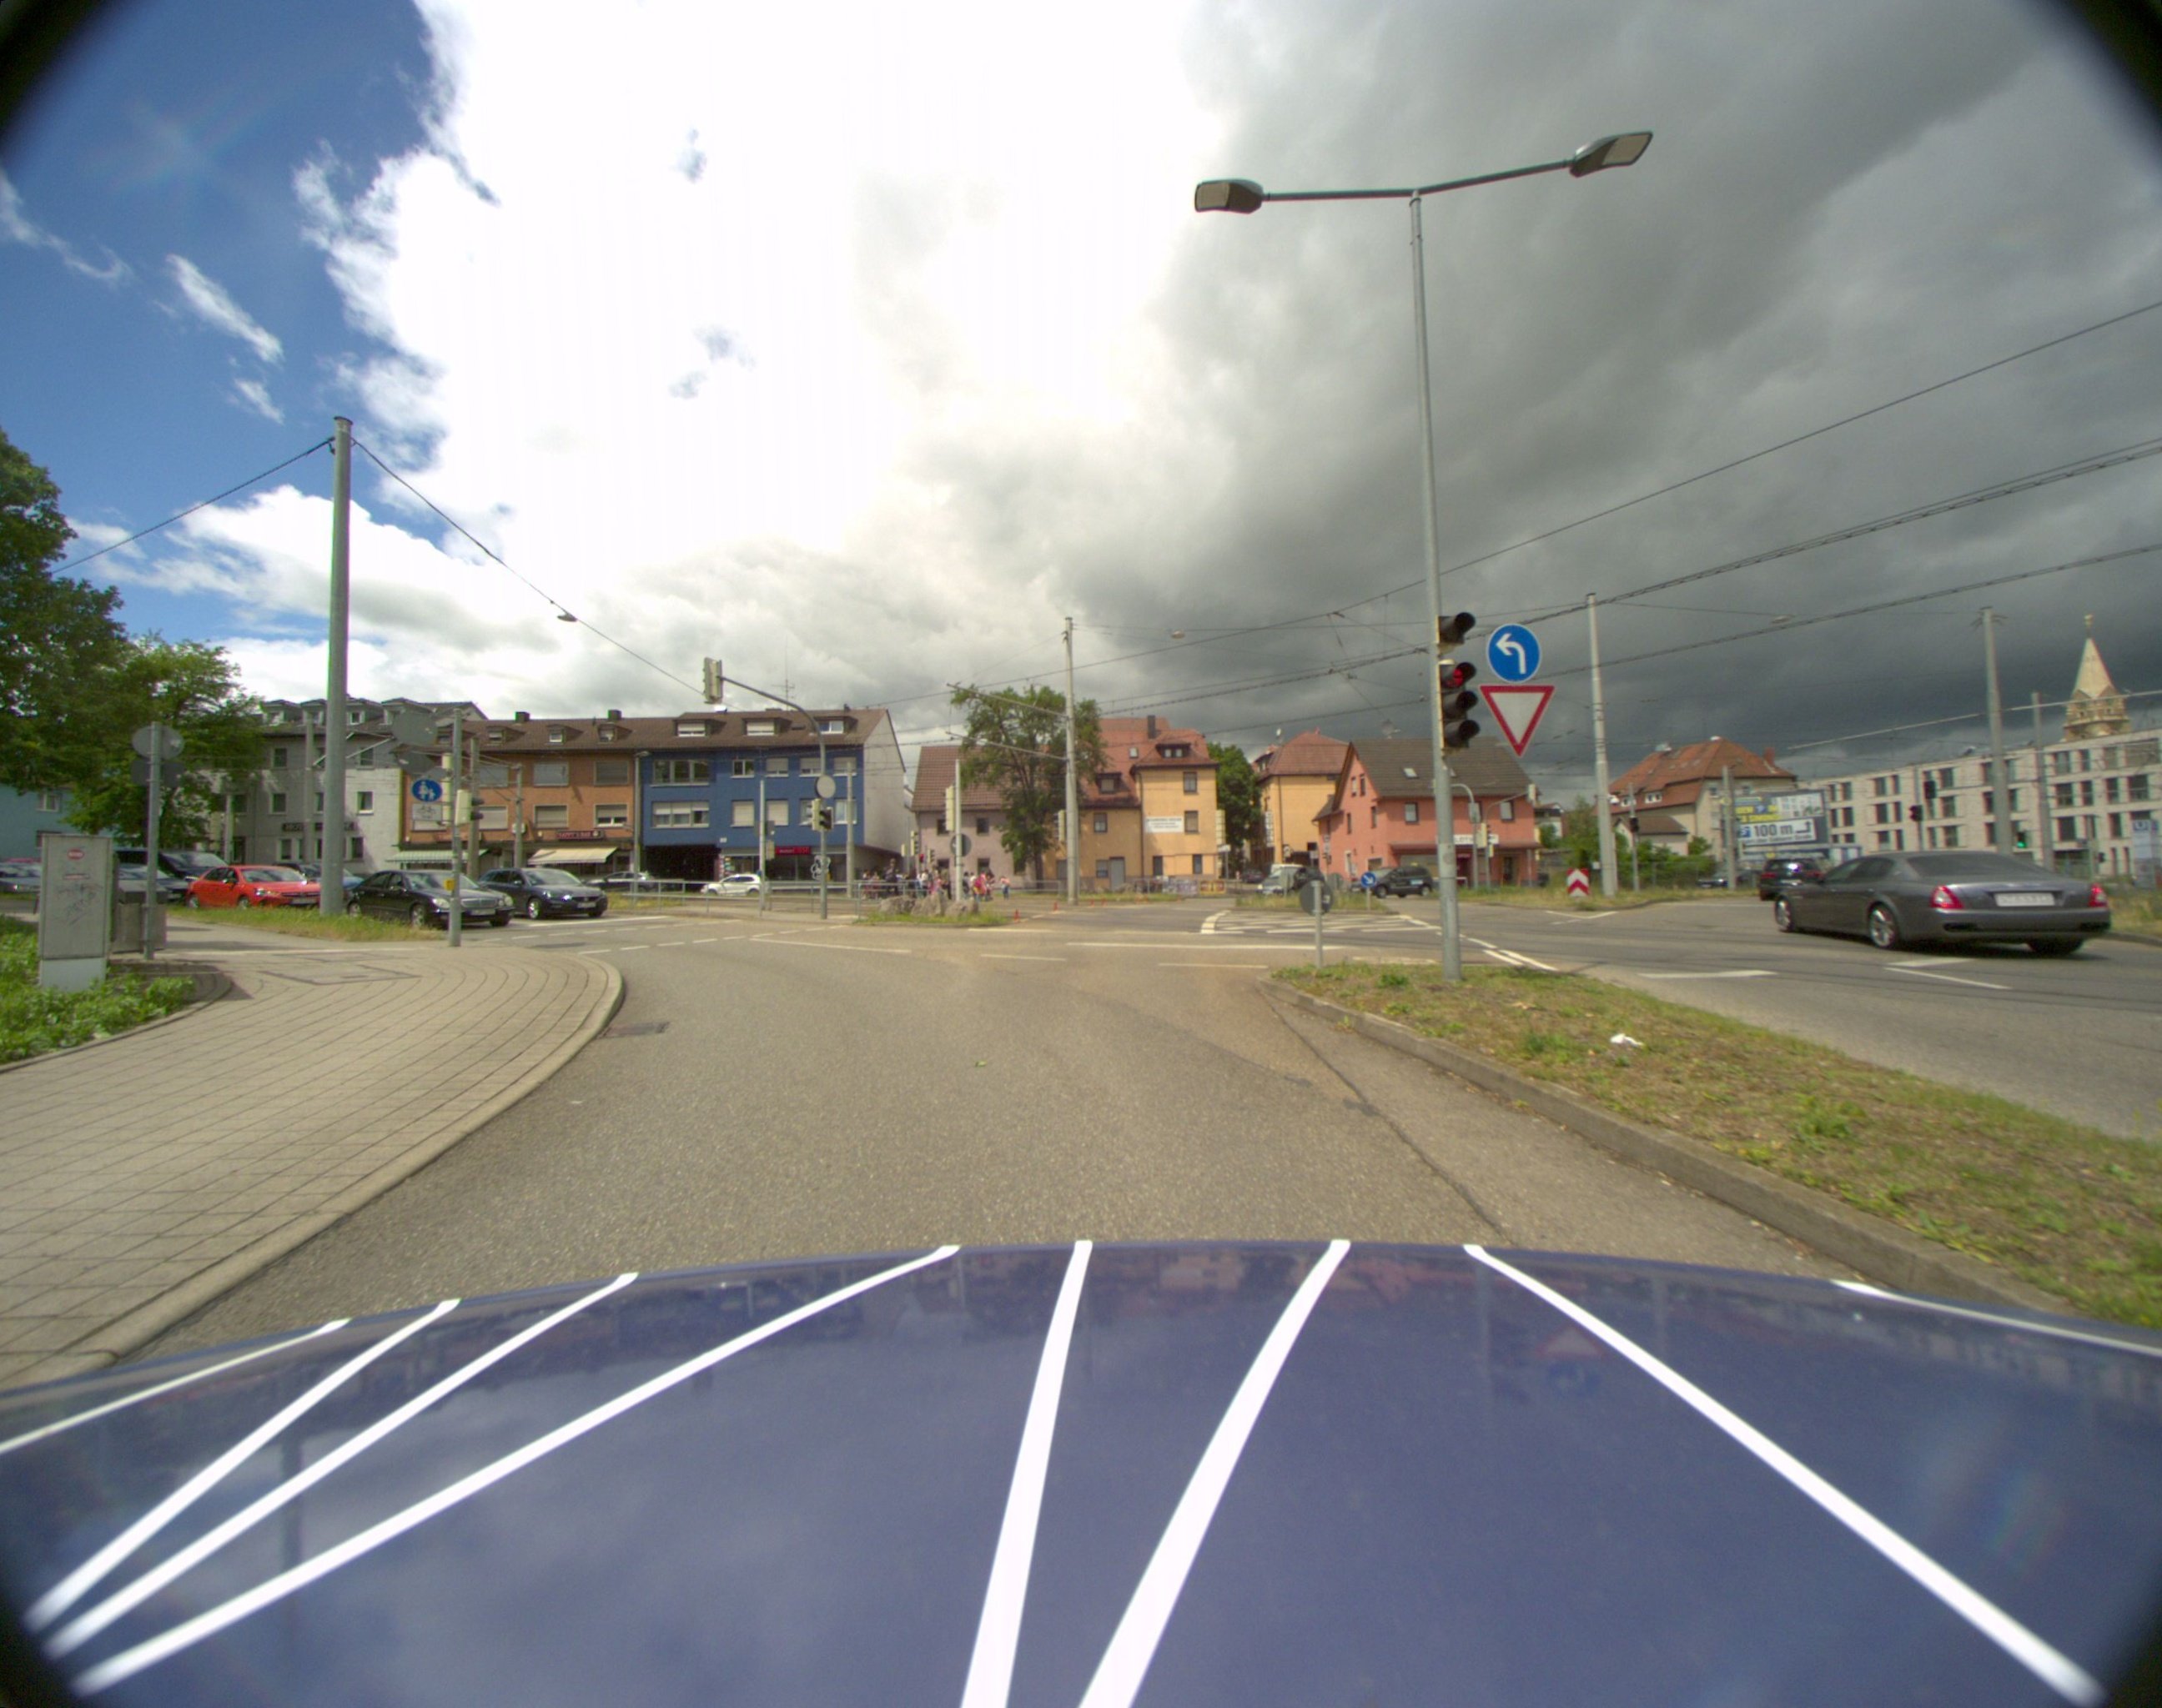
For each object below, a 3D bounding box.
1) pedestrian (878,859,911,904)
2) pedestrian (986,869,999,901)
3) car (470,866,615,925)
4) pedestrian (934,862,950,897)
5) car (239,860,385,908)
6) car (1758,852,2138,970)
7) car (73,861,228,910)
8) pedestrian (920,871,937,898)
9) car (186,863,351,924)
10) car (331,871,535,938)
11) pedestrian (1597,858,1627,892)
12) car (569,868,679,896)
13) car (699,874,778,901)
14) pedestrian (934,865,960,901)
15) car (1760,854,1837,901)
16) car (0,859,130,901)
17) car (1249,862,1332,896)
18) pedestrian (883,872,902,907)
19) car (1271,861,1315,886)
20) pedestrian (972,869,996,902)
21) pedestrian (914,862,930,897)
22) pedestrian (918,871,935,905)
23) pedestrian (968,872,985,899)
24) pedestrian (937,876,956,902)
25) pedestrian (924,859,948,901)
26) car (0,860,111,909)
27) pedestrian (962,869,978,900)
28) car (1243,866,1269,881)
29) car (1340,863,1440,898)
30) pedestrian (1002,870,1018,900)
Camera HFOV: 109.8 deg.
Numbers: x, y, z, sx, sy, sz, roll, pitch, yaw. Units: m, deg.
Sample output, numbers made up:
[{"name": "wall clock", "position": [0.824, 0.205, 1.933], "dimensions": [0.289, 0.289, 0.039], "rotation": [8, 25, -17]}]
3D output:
[{"name": "pedestrian", "position": [-7.711, 1.144, 31.479], "dimensions": [0.824, 1.830, 0.970], "rotation": [0, -2, 30]}, {"name": "pedestrian", "position": [-4.305, 1.513, 36.914], "dimensions": [0.587, 1.518, 0.675], "rotation": [0, -1, -6]}, {"name": "car", "position": [-15.537, 1.139, 21.909], "dimensions": [4.082, 1.429, 1.743], "rotation": [1, 1, 28]}, {"name": "pedestrian", "position": [-7.018, 1.265, 38.325], "dimensions": [0.675, 1.739, 0.587], "rotation": [-1, 0, -1]}, {"name": "car", "position": [-27.305, 1.071, 27.008], "dimensions": [3.992, 1.629, 1.930], "rotation": [-1, -1, 15]}, {"name": "car", "position": [12.810, 0.695, 11.812], "dimensions": [1.799, 1.402, 5.060], "rotation": [-1, 0, 22]}, {"name": "car", "position": [-29.507, 0.991, 24.118], "dimensions": [3.991, 1.454, 1.906], "rotation": [-1, -1, 20]}, {"name": "pedestrian", "position": [-7.780, 1.562, 38.856], "dimensions": [0.674, 1.367, 0.635], "rotation": [-1, -1, 7]}, {"name": "car", "position": [-23.716, 1.151, 22.185], "dimensions": [3.991, 1.632, 2.004], "rotation": [-2, -2, 22]}, {"name": "car", "position": [-15.888, 1.180, 18.640], "dimensions": [4.314, 1.456, 2.056], "rotation": [-1, -1, 23]}, {"name": "pedestrian", "position": [33.871, 1.330, 48.452], "dimensions": [1.127, 2.134, 1.053], "rotation": [-1, -1, 2]}, {"name": "car", "position": [-25.178, 1.565, 41.978], "dimensions": [4.852, 1.362, 1.920], "rotation": [-2, -3, -2]}, {"name": "car", "position": [-20.507, 2.014, 45.604], "dimensions": [3.997, 1.522, 1.713], "rotation": [-1, -3, 0]}, {"name": "pedestrian", "position": [-6.081, 1.306, 34.403], "dimensions": [0.893, 1.641, 0.824], "rotation": [0, -1, -33]}, {"name": "car", "position": [26.607, 0.826, 28.124], "dimensions": [4.306, 1.571, 1.806], "rotation": [-1, -1, -43]}, {"name": "car", "position": [-39.635, 0.999, 29.315], "dimensions": [3.993, 1.545, 2.018], "rotation": [-1, -1, 11]}, {"name": "car", "position": [9.556, 1.133, 34.471], "dimensions": [1.879, 1.419, 4.009], "rotation": [-4, -4, 44]}, {"name": "pedestrian", "position": [-9.289, 1.738, 37.427], "dimensions": [0.754, 1.739, 0.586], "rotation": [0, -1, -30]}, {"name": "car", "position": [17.160, 1.560, 61.623], "dimensions": [2.080, 1.886, 4.663], "rotation": [-2, -1, -2]}, {"name": "pedestrian", "position": [-4.377, 1.427, 34.400], "dimensions": [0.856, 1.472, 0.740], "rotation": [0, -1, -30]}, {"name": "pedestrian", "position": [-7.880, 1.250, 37.700], "dimensions": [0.675, 1.739, 0.587], "rotation": [-1, 0, -1]}, {"name": "pedestrian", "position": [-7.441, 1.631, 36.548], "dimensions": [0.676, 1.554, 0.587], "rotation": [-2, -7, -16]}, {"name": "pedestrian", "position": [-5.337, 1.605, 38.817], "dimensions": [0.586, 1.391, 0.676], "rotation": [-1, -1, 15]}, {"name": "pedestrian", "position": [-5.961, 1.544, 33.627], "dimensions": [0.676, 1.160, 0.586], "rotation": [-1, -1, -30]}, {"name": "pedestrian", "position": [-6.162, 1.112, 32.259], "dimensions": [0.694, 1.739, 0.750], "rotation": [0, -1, -38]}, {"name": "car", "position": [-36.001, 1.019, 25.797], "dimensions": [3.994, 1.574, 2.001], "rotation": [0, -1, 7]}, {"name": "pedestrian", "position": [-5.372, 1.491, 36.820], "dimensions": [0.586, 1.483, 0.676], "rotation": [-1, 0, 11]}, {"name": "car", "position": [16.728, 1.872, 72.746], "dimensions": [1.561, 1.362, 3.133], "rotation": [-2, -3, -2]}, {"name": "car", "position": [15.579, 1.346, 38.365], "dimensions": [4.424, 1.639, 1.998], "rotation": [-1, -3, -19]}, {"name": "pedestrian", "position": [-3.516, 1.538, 37.605], "dimensions": [0.540, 1.461, 0.780], "rotation": [-2, 0, 14]}]
